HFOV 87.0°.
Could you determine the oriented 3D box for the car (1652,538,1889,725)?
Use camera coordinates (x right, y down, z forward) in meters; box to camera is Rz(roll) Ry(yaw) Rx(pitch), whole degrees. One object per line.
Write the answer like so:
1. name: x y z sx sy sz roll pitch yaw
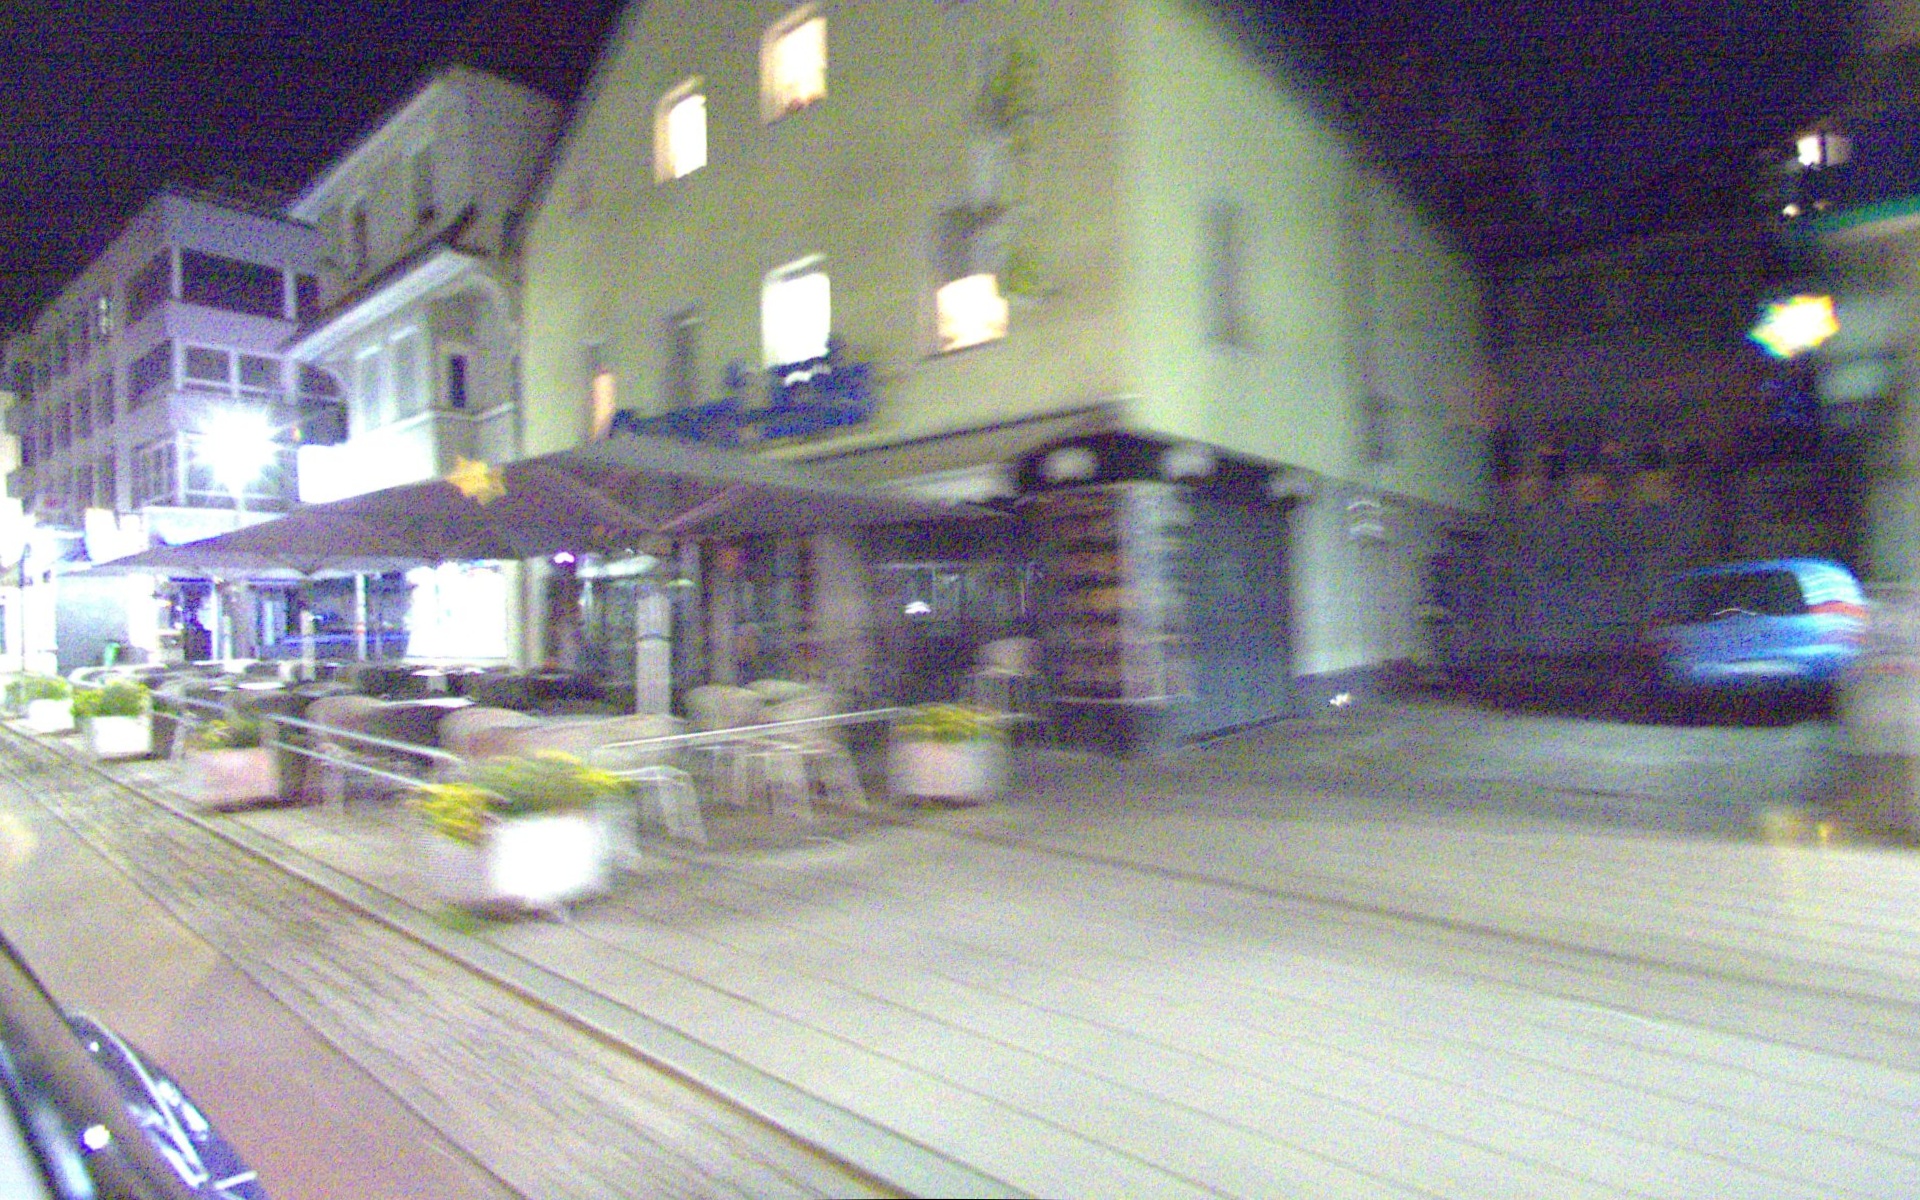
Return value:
1. car: 9.275 0.314 11.572 1.770 1.794 3.390 -5 -2 41
